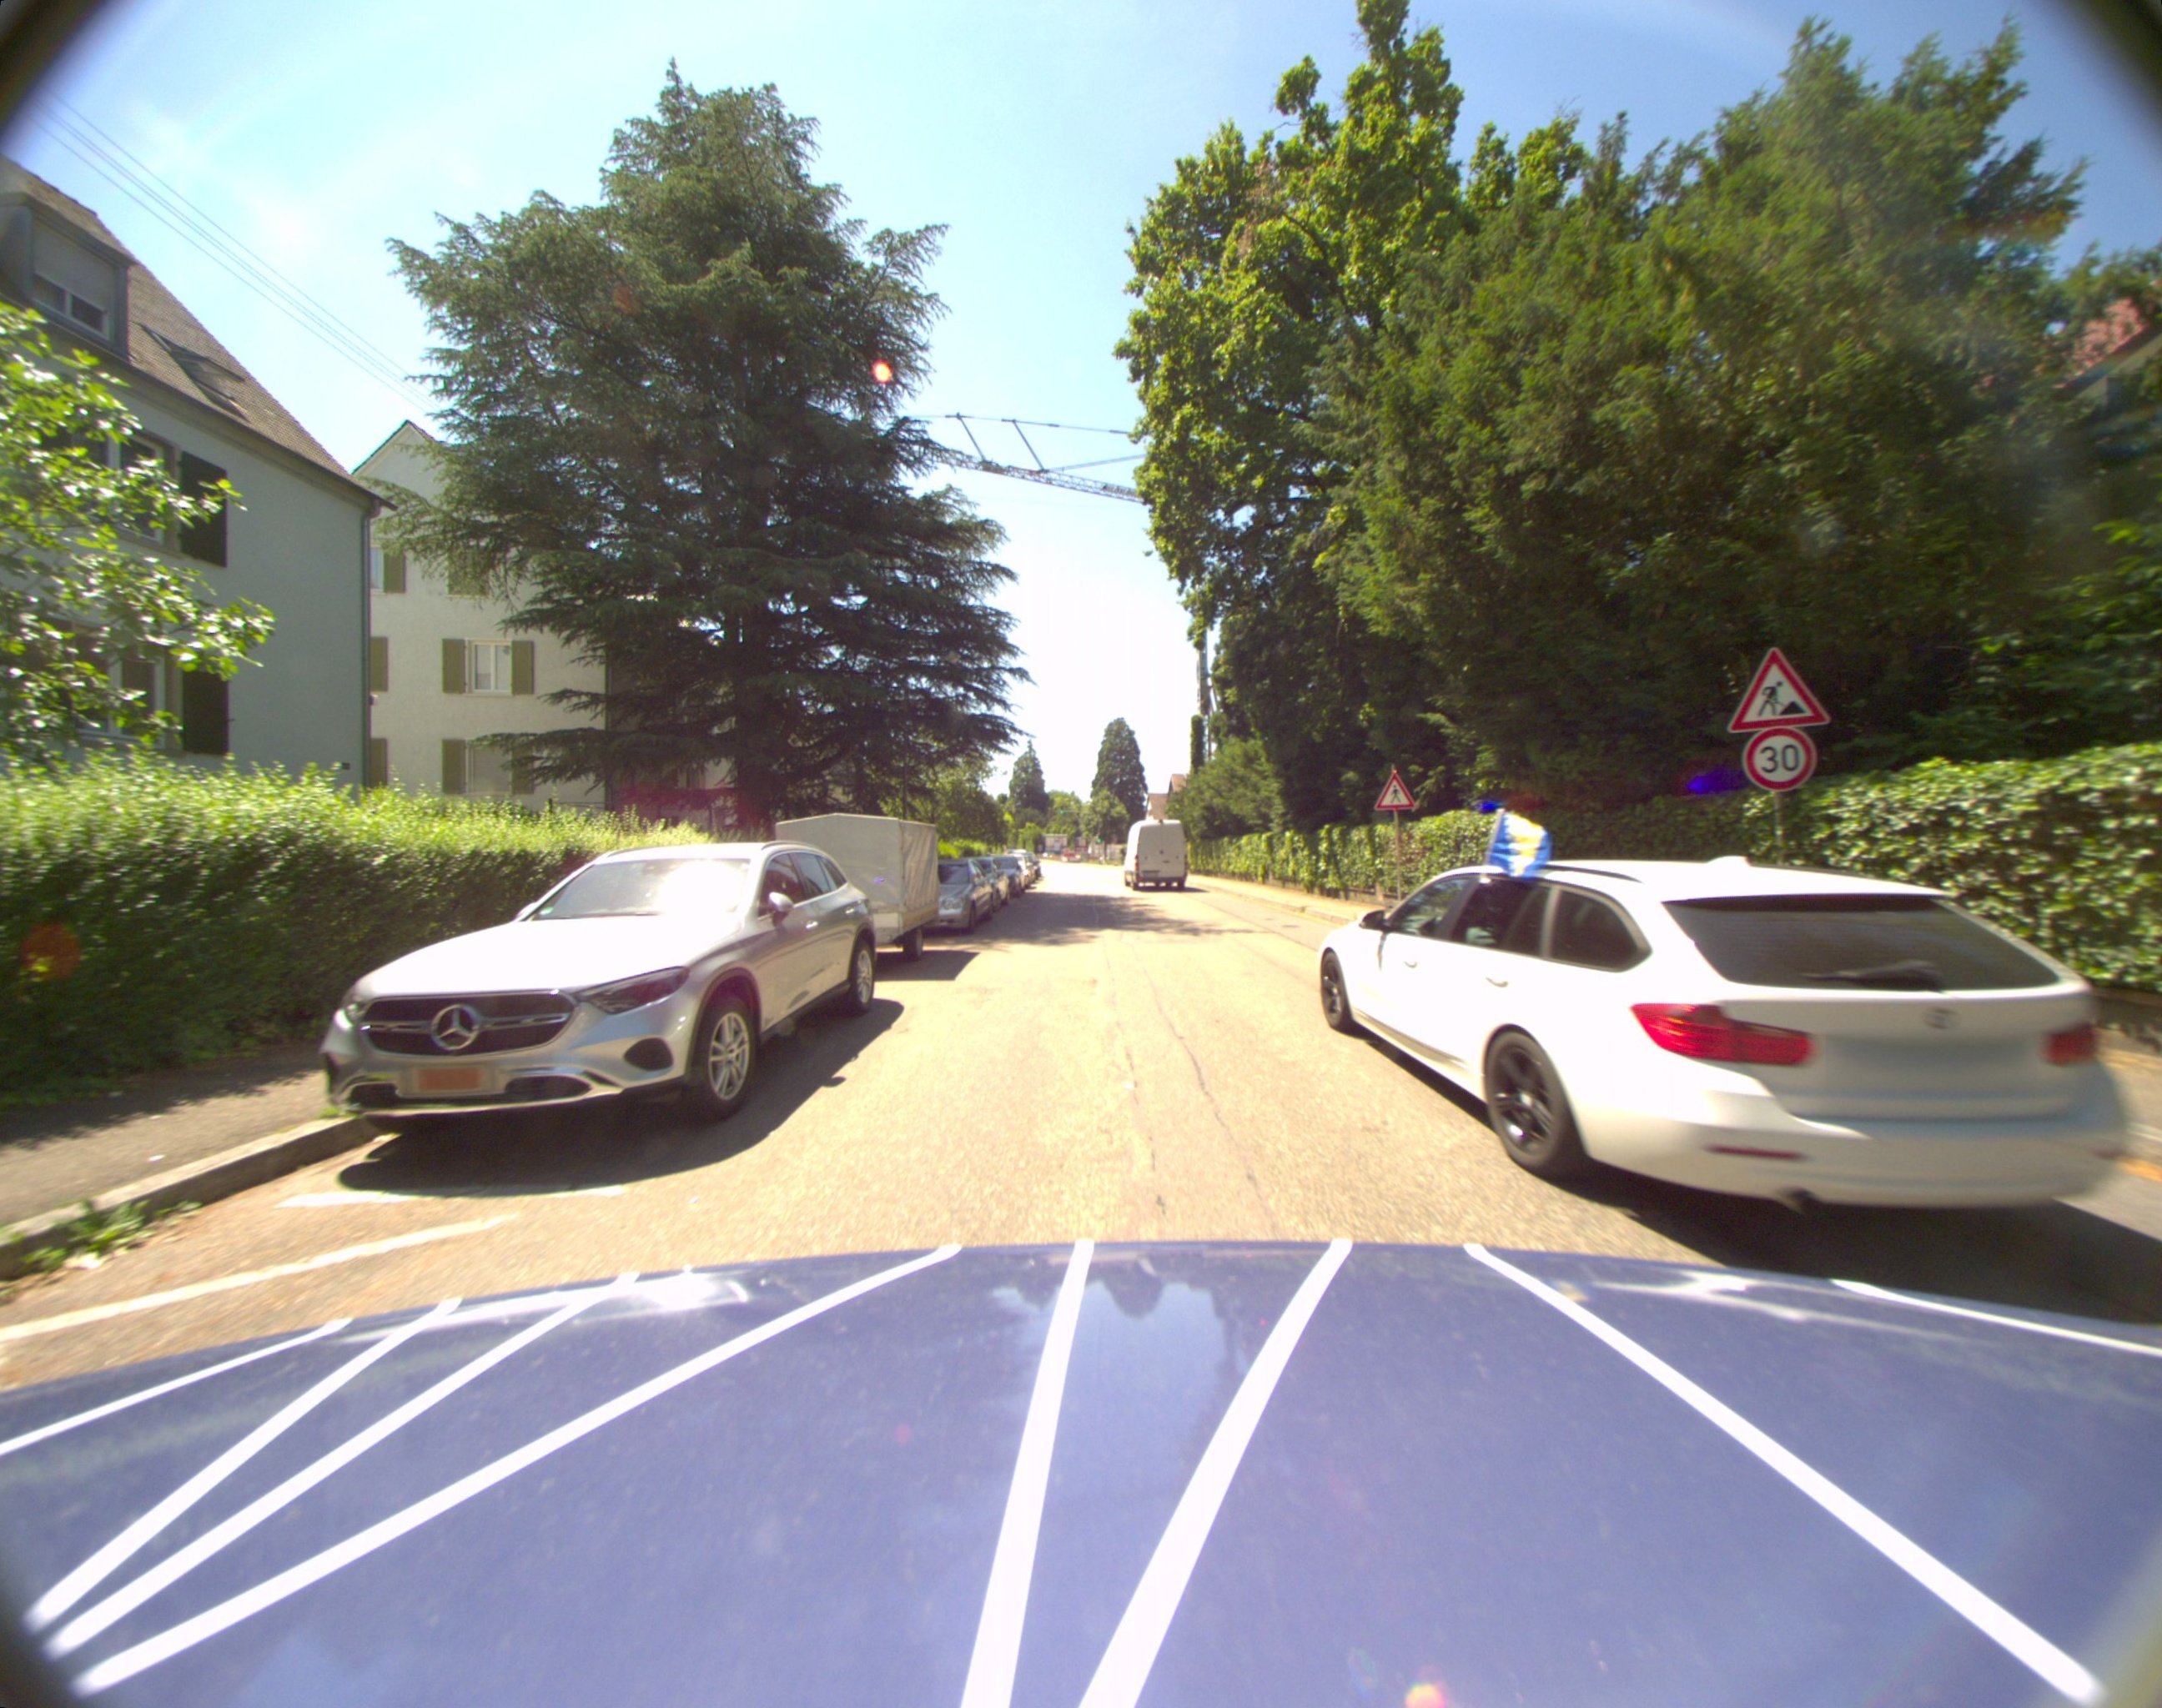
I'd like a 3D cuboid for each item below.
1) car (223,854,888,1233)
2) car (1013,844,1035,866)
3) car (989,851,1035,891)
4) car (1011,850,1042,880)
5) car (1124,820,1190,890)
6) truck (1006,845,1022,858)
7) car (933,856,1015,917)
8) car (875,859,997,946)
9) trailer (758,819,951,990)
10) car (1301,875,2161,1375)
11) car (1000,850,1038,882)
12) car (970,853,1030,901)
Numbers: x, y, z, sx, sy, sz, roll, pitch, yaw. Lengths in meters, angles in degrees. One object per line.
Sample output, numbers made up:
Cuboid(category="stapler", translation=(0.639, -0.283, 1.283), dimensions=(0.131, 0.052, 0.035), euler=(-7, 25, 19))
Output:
Cuboid(category="car", translation=(-2.936, 0.855, 5.721), dimensions=(1.776, 1.622, 4.603), euler=(-2, 0, -1))
Cuboid(category="car", translation=(-5.046, 0.058, 66.755), dimensions=(1.667, 1.793, 4.199), euler=(-3, 1, -7))
Cuboid(category="car", translation=(-2.945, 0.700, 33.074), dimensions=(1.619, 1.504, 4.063), euler=(-4, 1, -2))
Cuboid(category="car", translation=(-3.017, 0.580, 42.910), dimensions=(1.586, 1.566, 4.007), euler=(-1, 0, -2))
Cuboid(category="car", translation=(2.928, 0.021, 30.451), dimensions=(1.999, 2.518, 5.893), euler=(0, 0, 0))
Cuboid(category="truck", translation=(-12.090, -0.383, 136.765), dimensions=(2.135, 2.325, 6.426), euler=(0, 0, -13))
Cuboid(category="car", translation=(-2.860, 0.825, 21.051), dimensions=(1.618, 1.461, 4.064), euler=(-1, 1, 1))
Cuboid(category="car", translation=(-2.823, 0.883, 15.682), dimensions=(1.618, 1.388, 4.258), euler=(-2, 1, 0))
Cuboid(category="trailer", translation=(-3.107, 0.619, 11.229), dimensions=(1.684, 2.056, 3.707), euler=(-2, 0, -1))
Cuboid(category="car", translation=(2.933, 0.892, 4.613), dimensions=(1.869, 1.375, 4.604), euler=(0, 0, 0))
Cuboid(category="car", translation=(-3.075, 0.661, 38.249), dimensions=(1.586, 1.434, 4.009), euler=(-4, -2, -2))
Cuboid(category="car", translation=(-2.832, 0.771, 27.252), dimensions=(1.619, 1.442, 4.374), euler=(-3, 1, 0))
